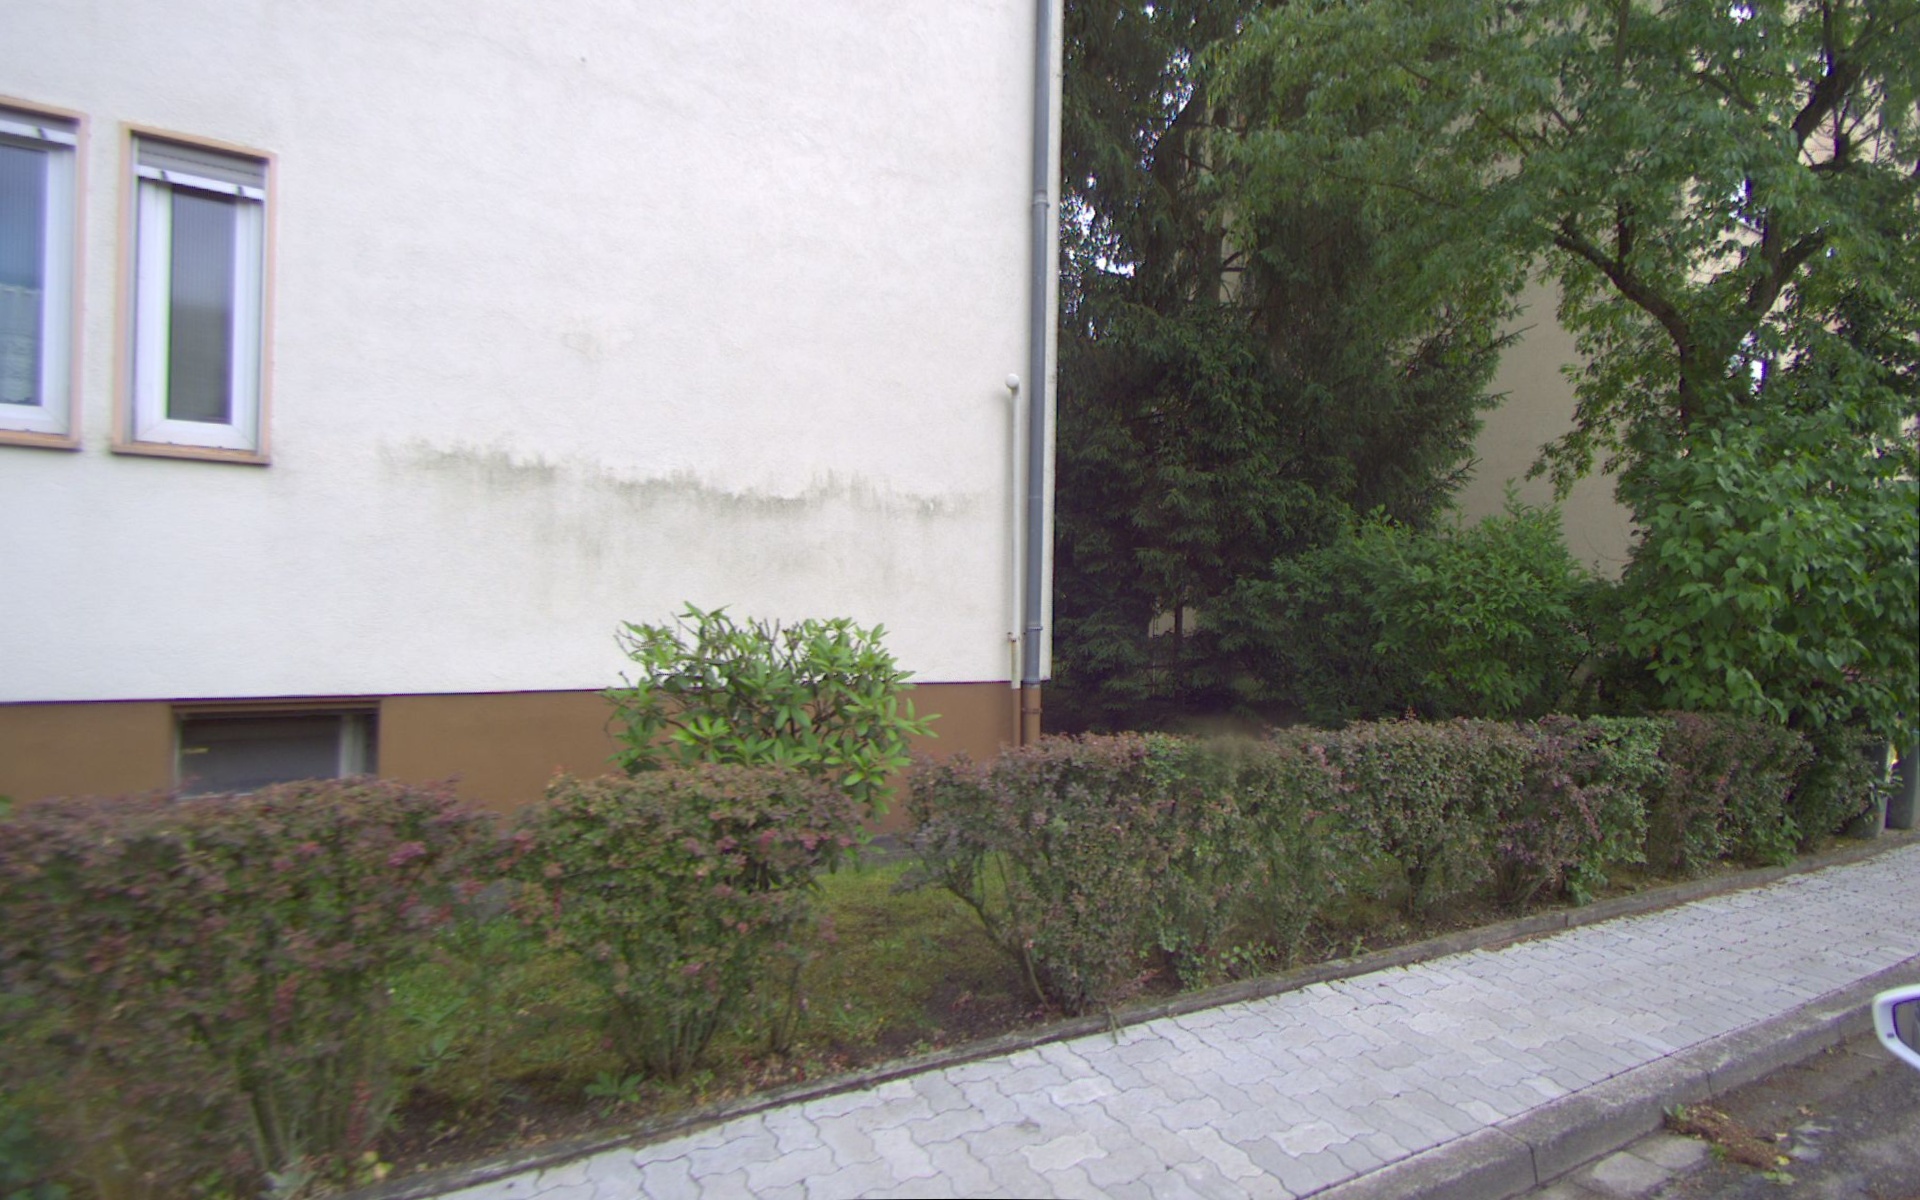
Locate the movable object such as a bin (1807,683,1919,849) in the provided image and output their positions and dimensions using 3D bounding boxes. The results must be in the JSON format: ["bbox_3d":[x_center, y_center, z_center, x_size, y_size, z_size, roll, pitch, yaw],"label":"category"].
[{"bbox_3d":[6.168,1.098,6.827,0.588,1.035,0.535,-3,-3,41],"label":"movable object such as a bin"}]

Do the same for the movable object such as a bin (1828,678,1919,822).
[{"bbox_3d":[7.087,1.128,7.721,0.588,1.035,0.535,-3,-3,41],"label":"movable object such as a bin"}]

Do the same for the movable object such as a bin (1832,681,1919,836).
[{"bbox_3d":[6.647,1.108,7.174,0.588,1.035,0.535,-3,-3,41],"label":"movable object such as a bin"}]
